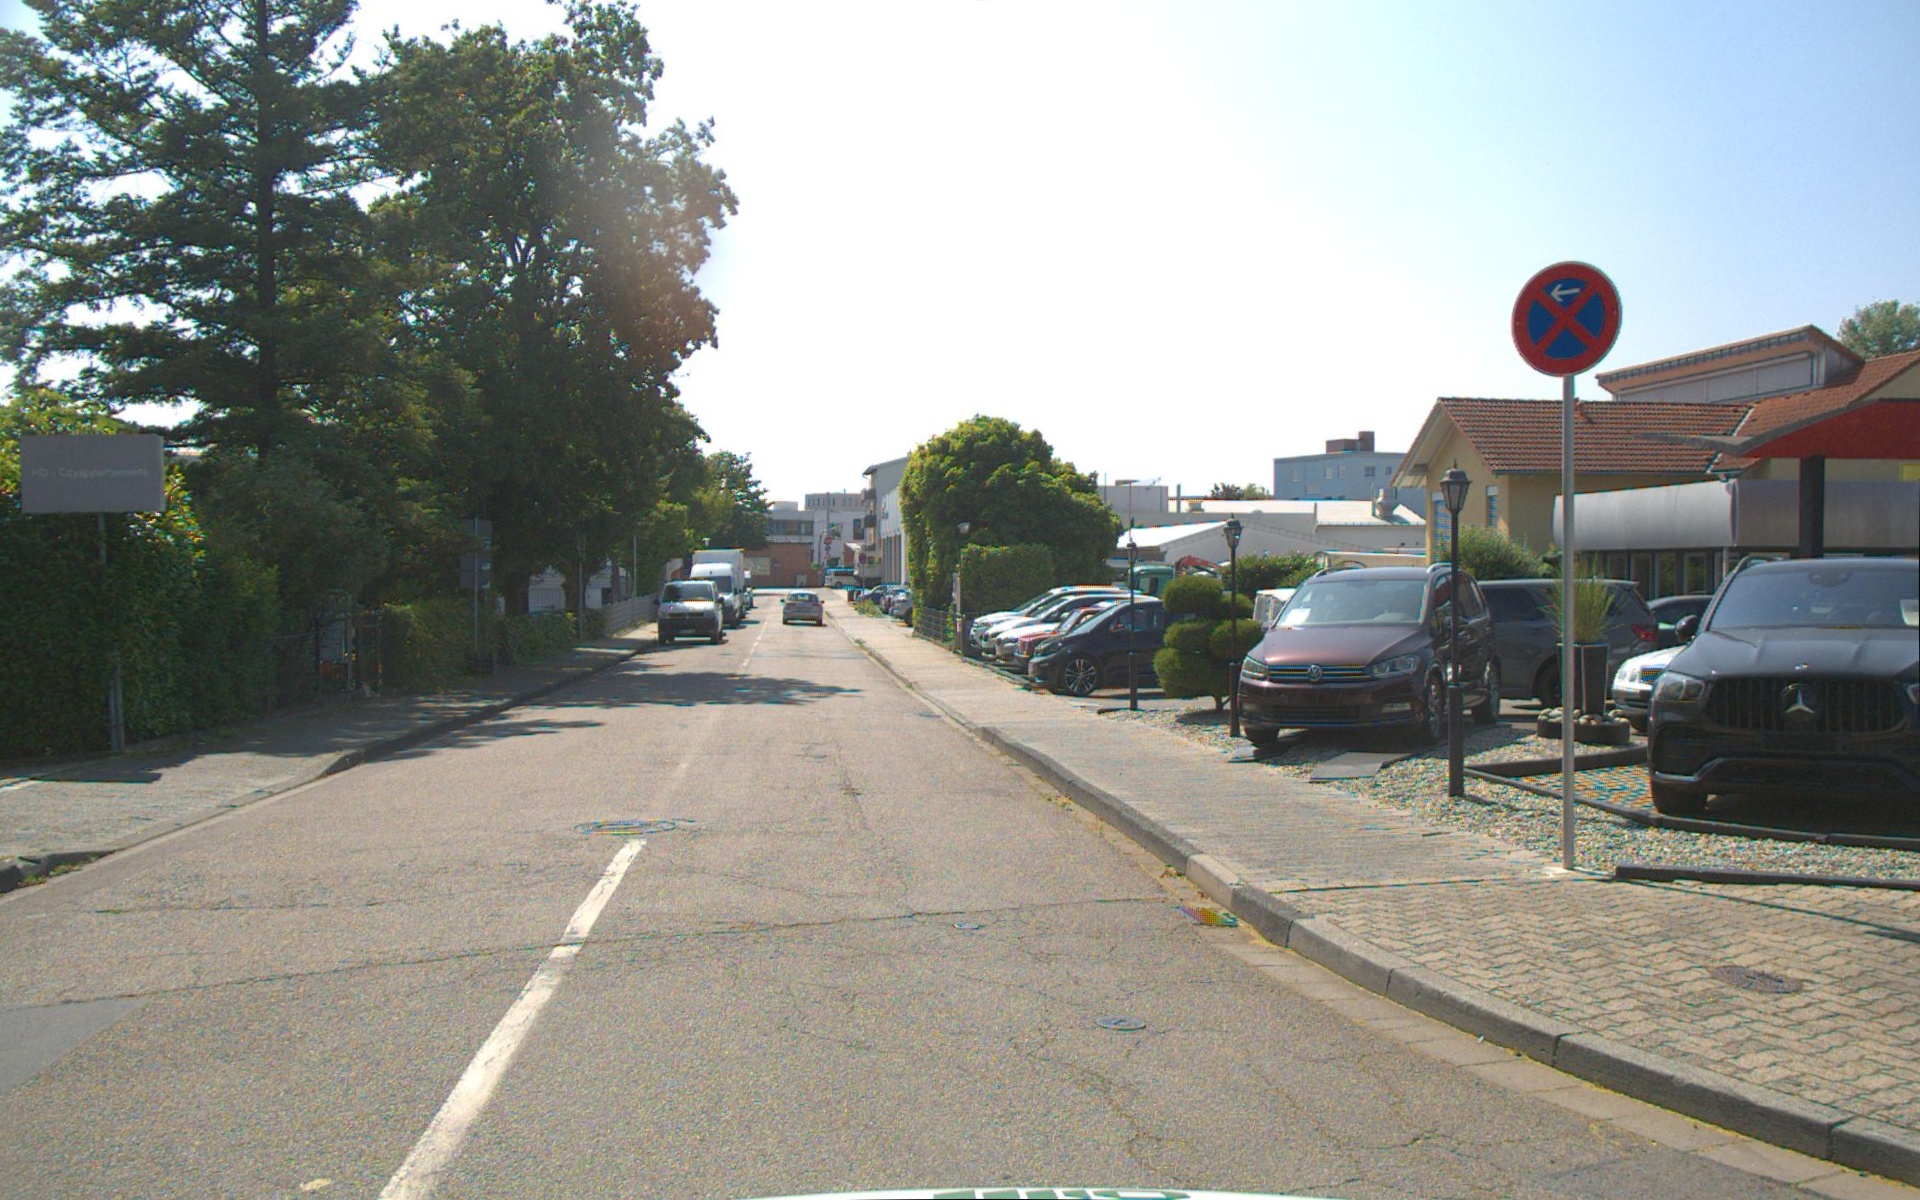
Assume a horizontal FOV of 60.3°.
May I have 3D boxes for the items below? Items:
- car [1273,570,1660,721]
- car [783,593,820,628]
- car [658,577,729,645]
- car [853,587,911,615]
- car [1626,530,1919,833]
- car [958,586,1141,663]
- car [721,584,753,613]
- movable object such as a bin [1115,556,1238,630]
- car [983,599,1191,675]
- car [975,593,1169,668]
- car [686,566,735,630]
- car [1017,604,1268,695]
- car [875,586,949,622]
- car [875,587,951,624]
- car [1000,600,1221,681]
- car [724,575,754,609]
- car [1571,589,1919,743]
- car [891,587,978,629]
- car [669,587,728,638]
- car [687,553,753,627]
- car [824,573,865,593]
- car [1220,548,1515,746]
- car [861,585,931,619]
[{"bbox_3d":[6.755,0.562,22.331,4.773,1.874,2.164,0,0,17],"label":"car"},{"bbox_3d":[-7.164,0.465,74.934,1.644,1.519,4.601,0,0,-5],"label":"car"},{"bbox_3d":[-8.495,0.358,52.926,1.995,2.092,3.995,0,-1,-6],"label":"car"},{"bbox_3d":[-5.244,0.047,110.767,3.785,1.794,1.822,1,0,-6],"label":"car"},{"bbox_3d":[6.150,0.519,11.643,2.006,1.737,4.303,0,-2,32],"label":"car"},{"bbox_3d":[2.095,0.567,39.412,4.081,1.780,1.888,0,0,-9],"label":"car"},{"bbox_3d":[-13.724,-0.096,102.006,1.796,1.716,3.995,0,0,-6],"label":"car"},{"bbox_3d":[8.881,-0.280,68.058,4.721,2.958,1.999,0,0,-3],"label":"movable object such as a bin"},{"bbox_3d":[2.603,0.741,34.384,4.030,1.515,1.866,0,0,-9],"label":"car"},{"bbox_3d":[2.455,0.658,36.903,4.035,1.631,1.866,0,0,-9],"label":"car"},{"bbox_3d":[-10.213,-0.088,68.033,1.796,2.548,3.995,0,0,-6],"label":"car"},{"bbox_3d":[3.145,0.838,28.904,4.043,1.515,1.866,0,0,-9],"label":"car"},{"bbox_3d":[-2.514,0.204,86.061,3.754,1.794,1.854,1,0,-6],"label":"car"},{"bbox_3d":[-2.397,0.268,83.844,3.754,1.794,1.854,1,0,-6],"label":"car"},{"bbox_3d":[2.868,0.758,32.004,3.970,1.515,1.795,0,0,-9],"label":"car"},{"bbox_3d":[-14.394,-0.492,107.841,1.796,2.155,3.995,0,0,-6],"label":"car"},{"bbox_3d":[9.547,0.682,19.172,4.607,1.602,1.902,0,0,-23],"label":"car"},{"bbox_3d":[-1.165,0.341,74.312,3.754,1.794,1.854,1,0,-6],"label":"car"},{"bbox_3d":[-9.043,0.425,57.446,1.796,1.722,3.995,0,0,-6],"label":"car"},{"bbox_3d":[-11.438,-0.441,79.338,2.752,3.375,7.772,0,0,-6],"label":"car"},{"bbox_3d":[-11.755,-1.784,168.701,3.918,1.942,1.809,1,1,-13],"label":"car"},{"bbox_3d":[4.183,0.416,16.458,1.770,1.685,4.307,-1,-1,29],"label":"car"},{"bbox_3d":[-3.582,0.087,91.925,3.754,1.794,1.780,1,0,-6],"label":"car"}]
